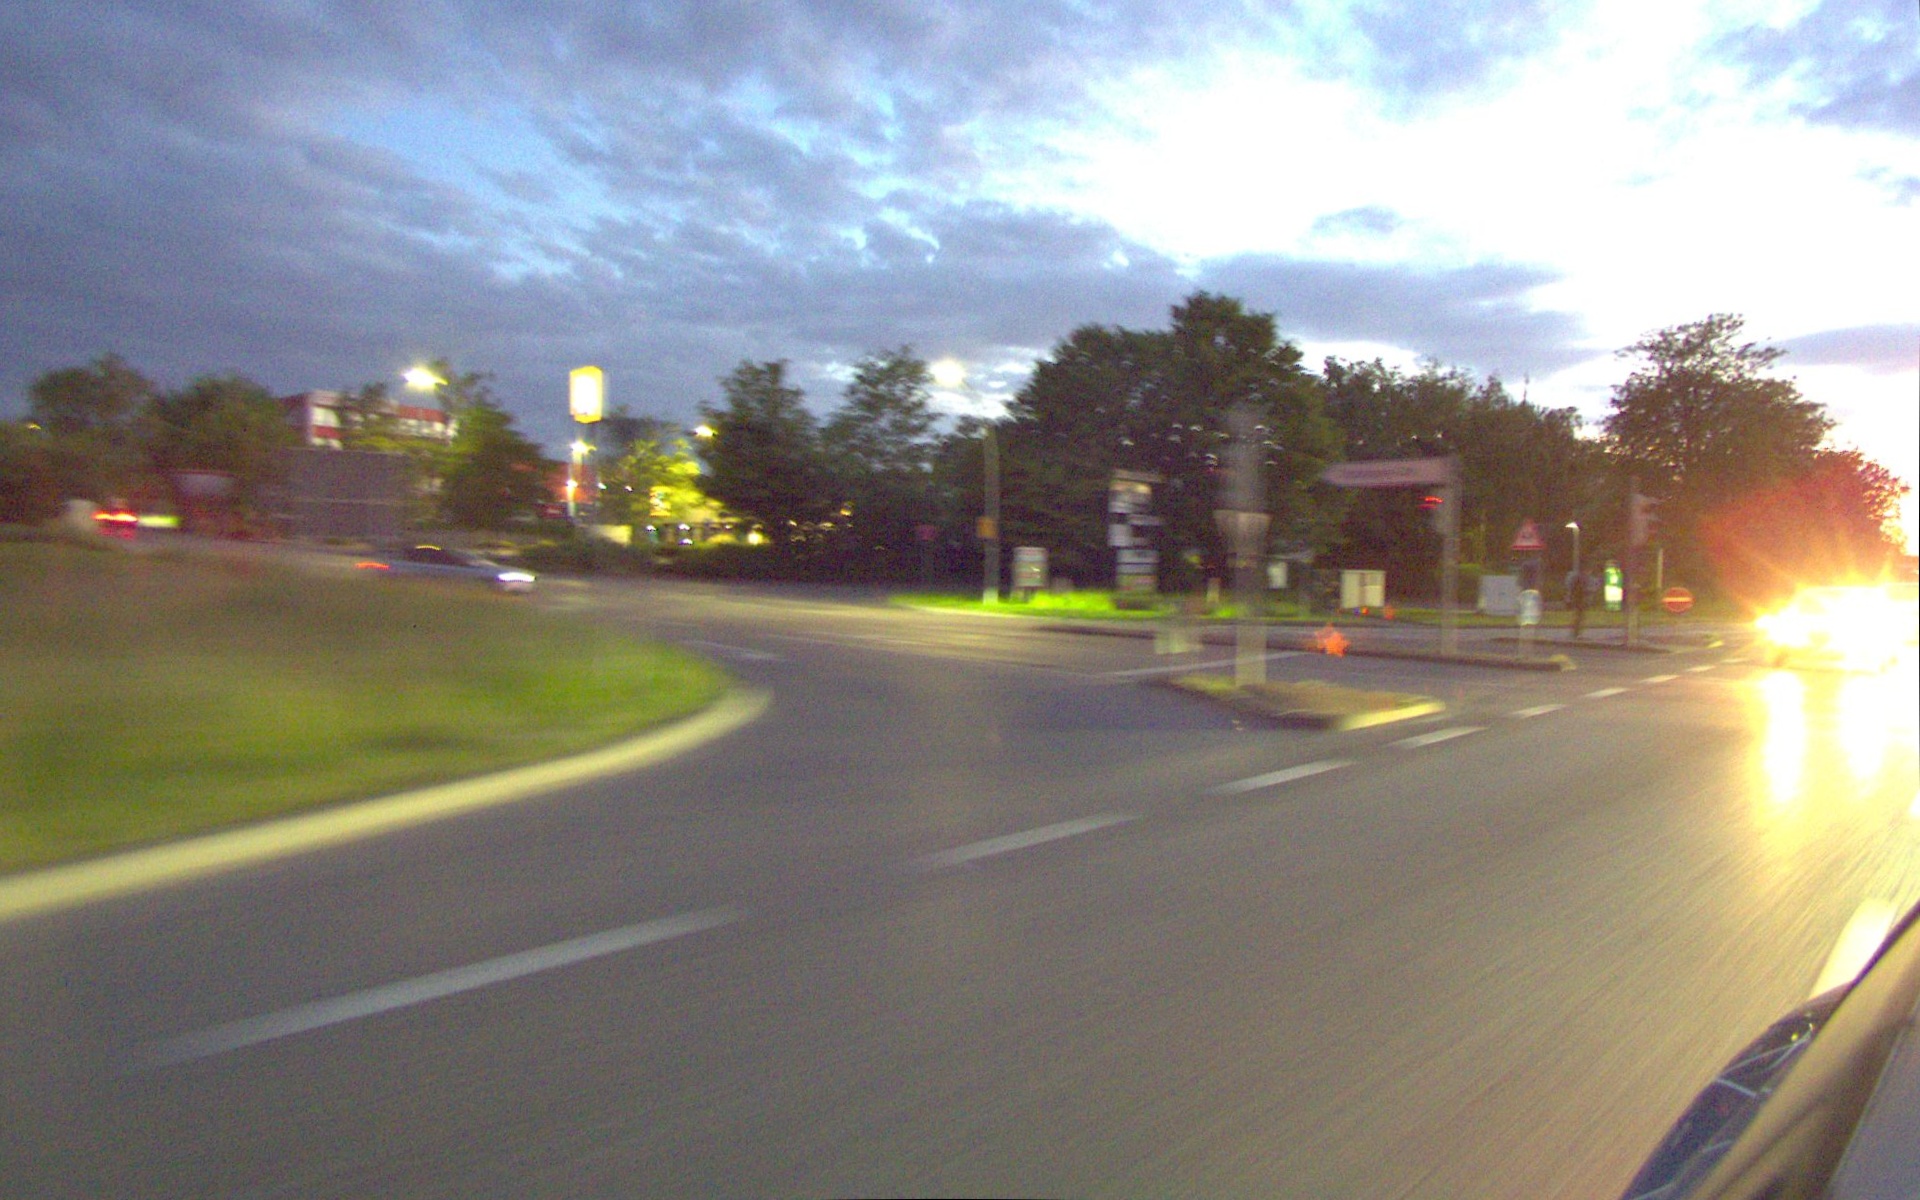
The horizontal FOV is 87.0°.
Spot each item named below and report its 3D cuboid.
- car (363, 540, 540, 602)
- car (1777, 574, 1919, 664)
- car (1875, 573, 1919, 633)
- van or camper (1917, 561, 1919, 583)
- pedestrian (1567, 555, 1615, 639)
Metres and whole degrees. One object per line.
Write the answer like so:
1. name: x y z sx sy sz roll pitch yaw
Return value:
1. car: -15.062 -0.863 30.207 4.383 1.684 2.005 1 3 -14
2. car: 17.050 0.313 19.368 3.651 1.556 1.661 0 1 -42
3. car: 26.876 0.077 27.999 4.227 1.577 1.899 0 -1 -42
4. van or camper: 141.871 -3.980 146.612 9.775 3.163 3.945 -1 3 -43
5. pedestrian: 15.640 -0.085 25.096 0.768 2.039 0.712 -1 0 9
